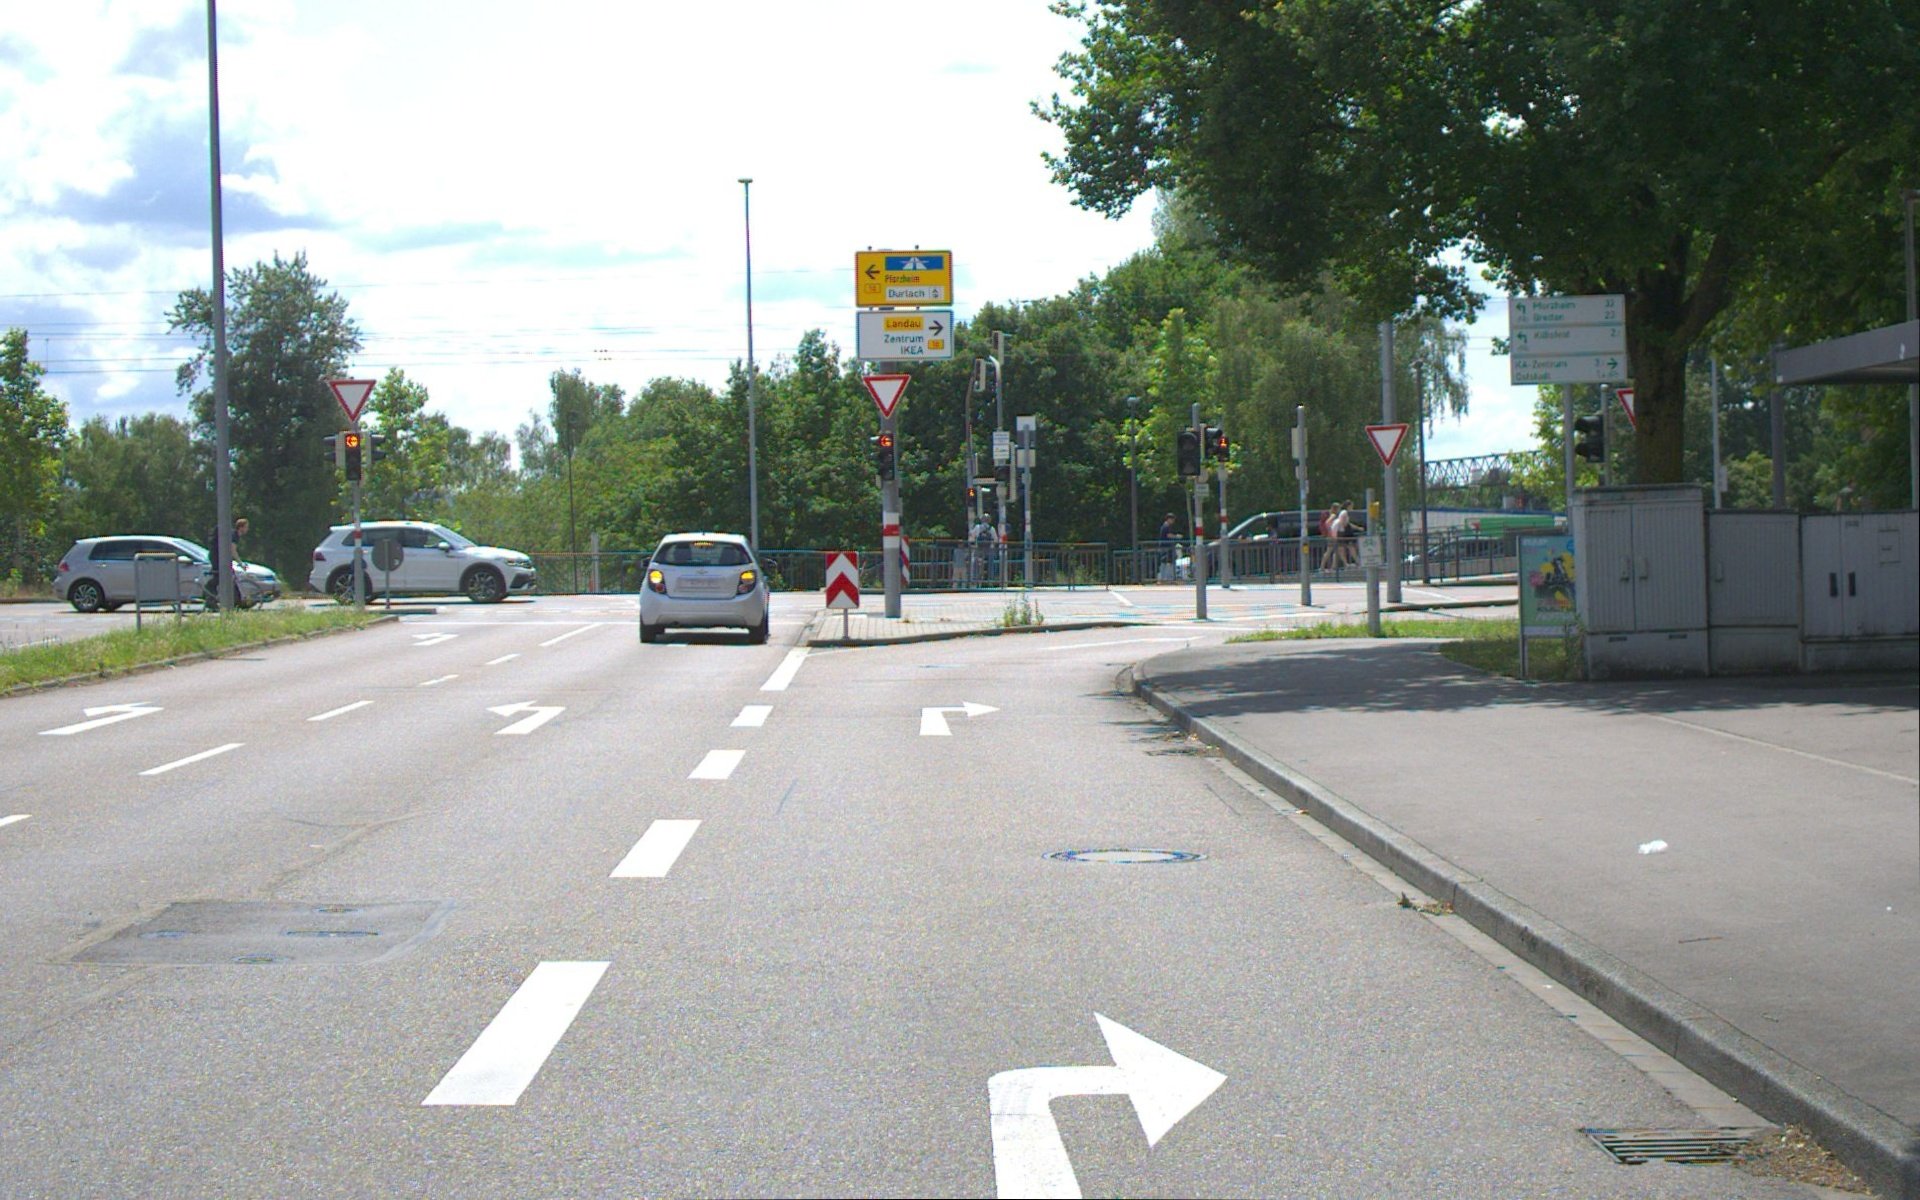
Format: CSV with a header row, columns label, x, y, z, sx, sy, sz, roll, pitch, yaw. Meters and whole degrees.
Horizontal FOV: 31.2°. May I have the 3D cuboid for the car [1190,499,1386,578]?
label,x,y,z,sx,sy,sz,roll,pitch,yaw
car,8.217,-1.543,86.493,4.651,1.814,2.000,-2,1,-1

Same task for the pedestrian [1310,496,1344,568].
label,x,y,z,sx,sy,sz,roll,pitch,yaw
pedestrian,8.833,-1.635,82.822,0.706,1.715,0.601,-2,1,1

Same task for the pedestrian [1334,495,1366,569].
label,x,y,z,sx,sy,sz,roll,pitch,yaw
pedestrian,9.309,-1.627,82.085,0.676,1.742,0.637,-1,3,1

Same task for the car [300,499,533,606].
label,x,y,z,sx,sy,sz,roll,pitch,yaw
car,-10.934,-0.963,69.384,4.348,1.982,2.000,-2,1,-1

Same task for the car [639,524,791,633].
label,x,y,z,sx,sy,sz,roll,pitch,yaw
car,-3.417,-0.336,48.582,1.894,1.464,3.834,0,1,0

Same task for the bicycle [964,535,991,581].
label,x,y,z,sx,sy,sz,roll,pitch,yaw
bicycle,0.422,-1.014,83.243,0.619,1.084,1.722,-1,1,1

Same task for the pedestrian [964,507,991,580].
label,x,y,z,sx,sy,sz,roll,pitch,yaw
pedestrian,0.417,-1.367,83.202,0.611,1.763,0.672,-1,1,1

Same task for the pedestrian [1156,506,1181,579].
label,x,y,z,sx,sy,sz,roll,pitch,yaw
pedestrian,4.926,-1.364,81.298,0.523,1.715,0.730,-2,1,3

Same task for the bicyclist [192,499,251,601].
label,x,y,z,sx,sy,sz,roll,pitch,yaw
bicyclist,-13.502,-0.922,62.880,0.921,1.840,0.611,-1,1,-1

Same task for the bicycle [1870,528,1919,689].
label,x,y,z,sx,sy,sz,roll,pitch,yaw
bicycle,7.847,0.029,25.872,1.861,1.183,0.424,-2,1,-5

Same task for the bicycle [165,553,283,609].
label,x,y,z,sx,sy,sz,roll,pitch,yaw
bicycle,-13.459,-0.355,62.892,2.017,0.996,0.622,1,1,-1

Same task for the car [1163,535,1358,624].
label,x,y,z,sx,sy,sz,roll,pitch,yaw
car,6.573,-0.470,75.391,3.986,1.776,1.910,-2,1,-3

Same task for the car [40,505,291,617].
label,x,y,z,sx,sy,sz,roll,pitch,yaw
car,-15.282,-0.756,66.328,4.348,1.982,2.000,-2,1,-1
